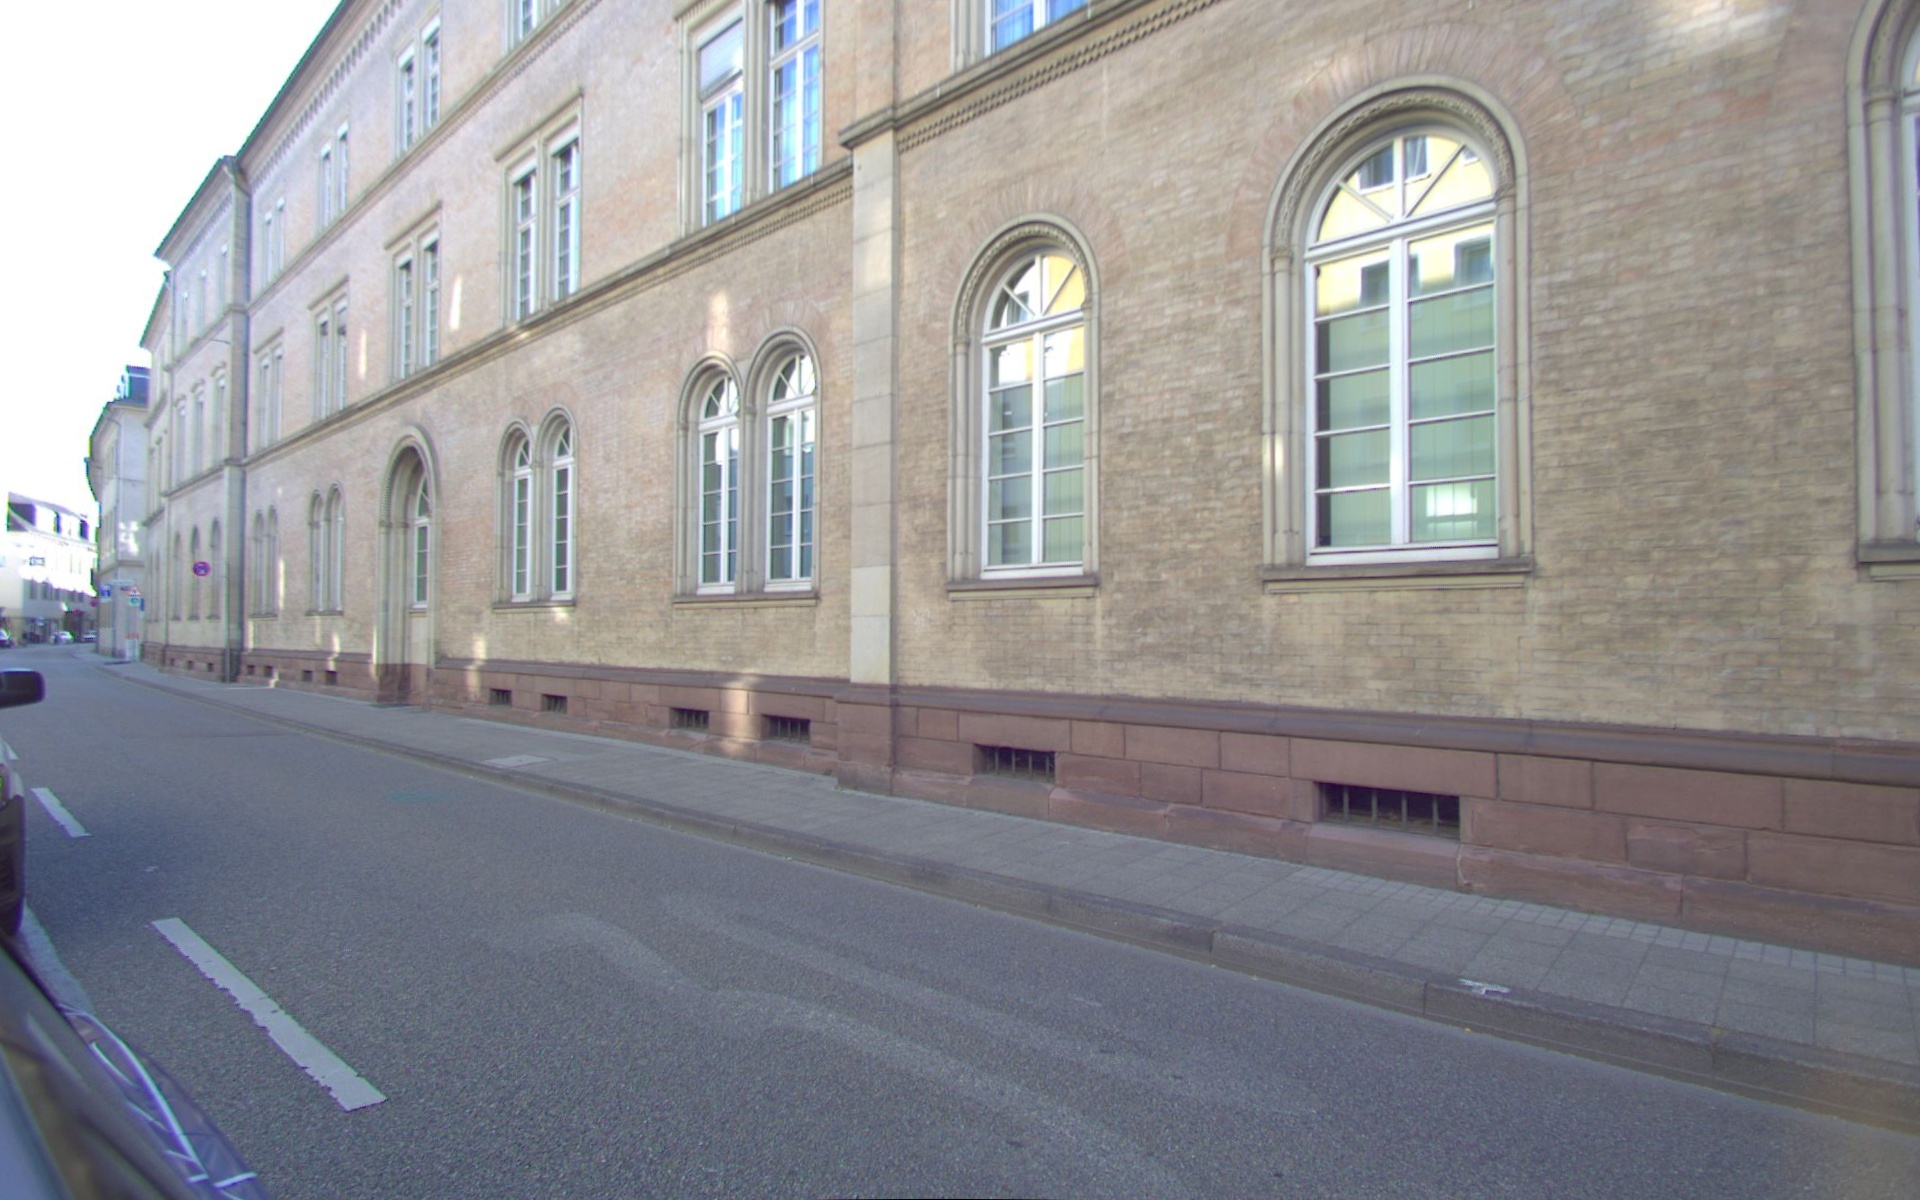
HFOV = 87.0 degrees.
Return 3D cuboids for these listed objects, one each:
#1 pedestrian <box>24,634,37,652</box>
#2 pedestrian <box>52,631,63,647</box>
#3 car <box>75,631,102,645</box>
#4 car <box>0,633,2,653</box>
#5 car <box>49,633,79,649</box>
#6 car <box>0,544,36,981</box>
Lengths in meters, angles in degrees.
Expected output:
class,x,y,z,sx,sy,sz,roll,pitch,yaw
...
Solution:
class,x,y,z,sx,sy,sz,roll,pitch,yaw
pedestrian,-85.836,3.987,93.425,0.694,1.648,0.834,5,-4,-38
pedestrian,-95.275,4.102,106.851,0.694,1.648,0.834,5,-4,-36
car,-109.223,4.735,126.829,1.966,1.665,4.240,-1,0,-33
car,-86.608,3.870,89.950,1.969,1.665,4.235,-1,0,-41
car,-102.849,4.658,116.176,1.966,1.665,4.240,-1,0,-33
car,-6.430,0.673,5.305,5.329,1.784,1.747,-1,-2,41
